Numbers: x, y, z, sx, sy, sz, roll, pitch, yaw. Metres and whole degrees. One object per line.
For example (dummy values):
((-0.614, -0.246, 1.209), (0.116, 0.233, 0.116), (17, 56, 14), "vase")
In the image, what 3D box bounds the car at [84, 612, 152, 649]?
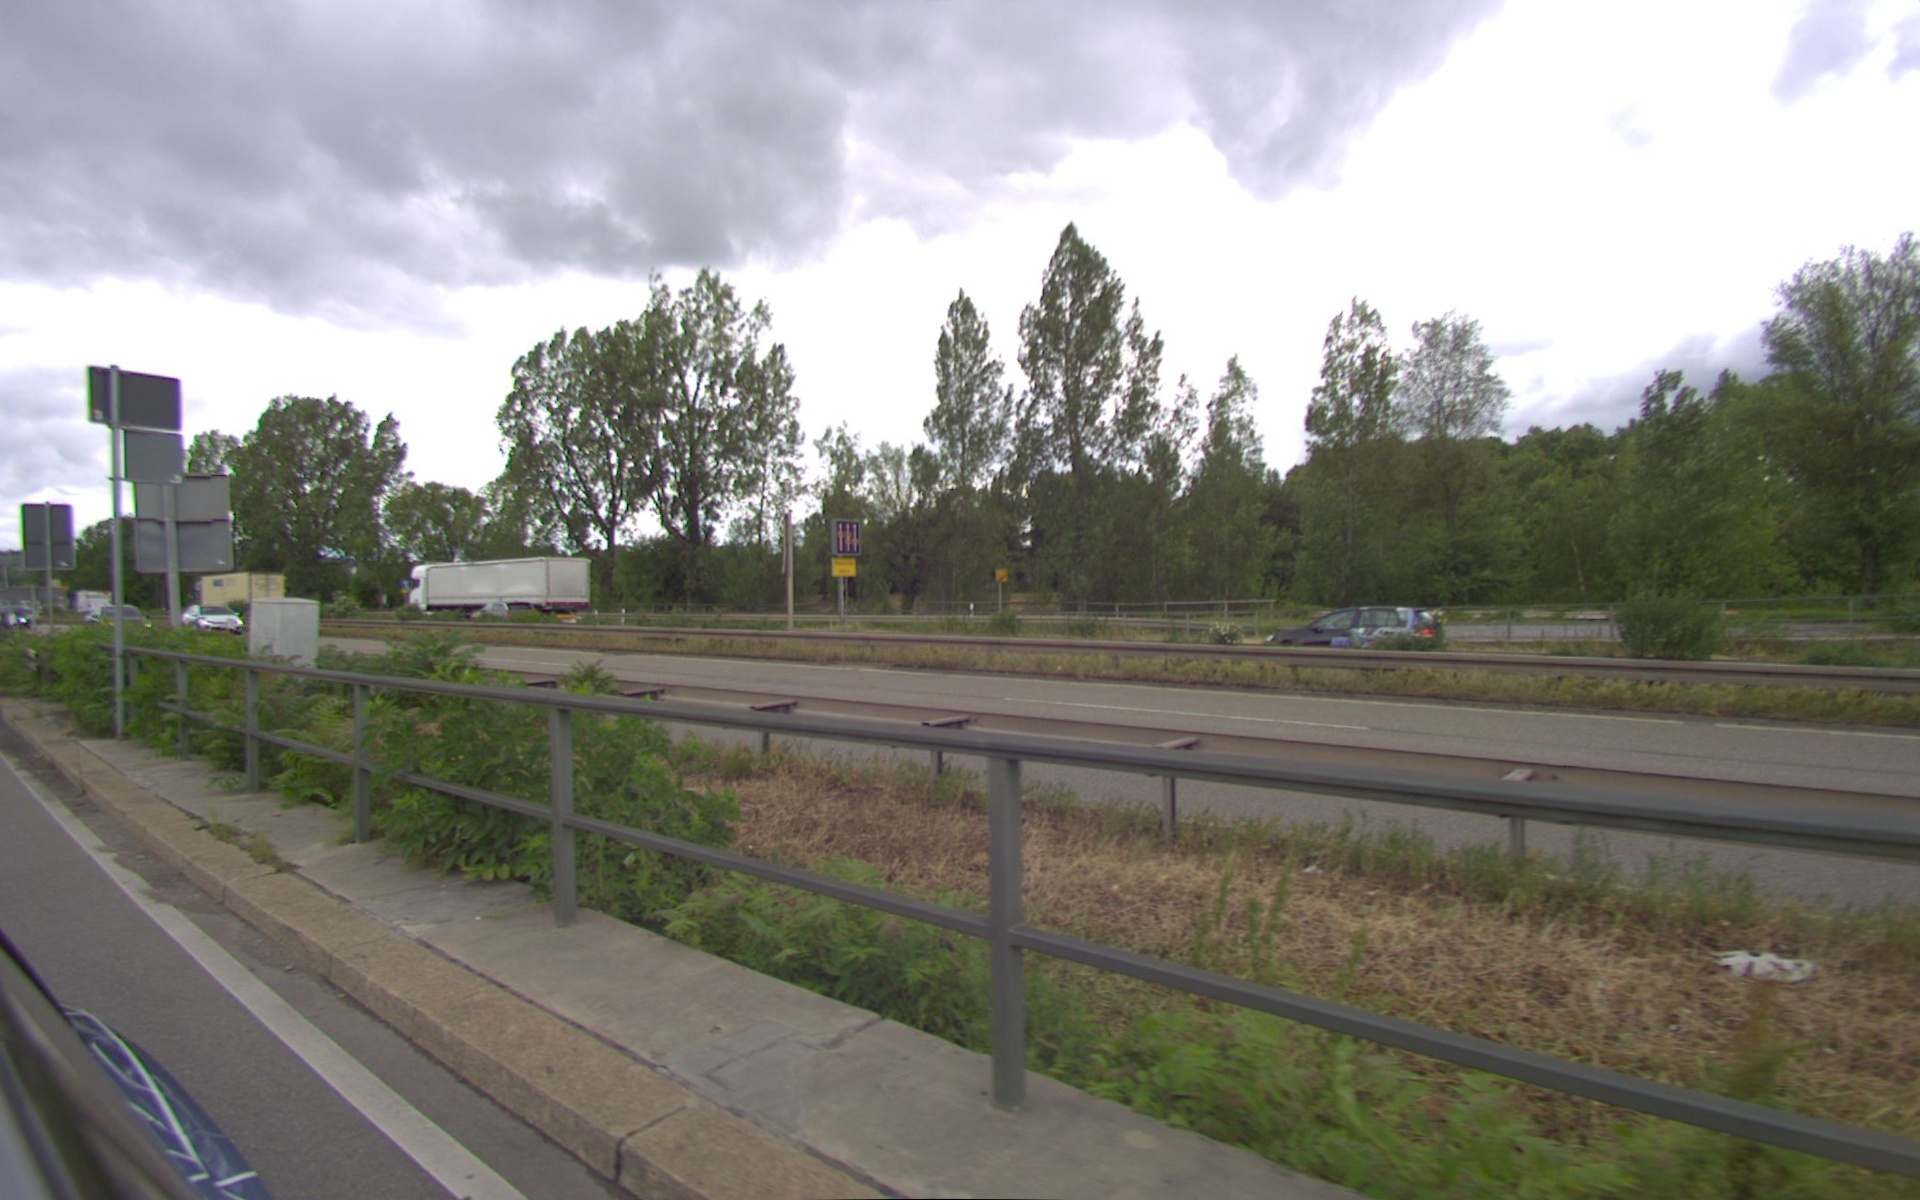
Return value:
((-36.445, 1.307, 43.759), (1.913, 1.512, 4.306), (1, -2, -45), "car")

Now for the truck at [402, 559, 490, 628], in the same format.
((-30.920, -0.408, 60.852), (5.307, 3.966, 2.762), (0, 1, 39), "truck")

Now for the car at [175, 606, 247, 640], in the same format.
((-35.882, 1.100, 48.444), (3.995, 1.511, 1.836), (-1, -1, 39), "car")

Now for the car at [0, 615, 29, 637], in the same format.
((-60.796, 1.680, 64.446), (3.643, 1.337, 1.707), (-1, -1, 38), "car")

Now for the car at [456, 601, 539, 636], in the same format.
((-22.119, 0.846, 48.342), (3.994, 1.533, 1.975), (0, 2, 38), "car")

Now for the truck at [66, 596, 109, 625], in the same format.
((-117.637, 1.396, 136.435), (6.325, 3.670, 2.956), (-1, 2, 37), "truck")

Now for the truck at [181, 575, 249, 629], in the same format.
((-67.505, 0.210, 91.711), (6.204, 4.708, 3.430), (-1, 1, 39), "truck")

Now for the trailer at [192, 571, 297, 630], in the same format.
((-61.744, 0.116, 87.035), (14.765, 4.708, 3.430), (-1, 1, 39), "trailer")

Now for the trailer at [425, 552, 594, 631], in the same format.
((-25.315, -0.442, 56.238), (13.500, 3.978, 2.763), (0, 1, 39), "trailer")

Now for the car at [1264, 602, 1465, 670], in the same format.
((9.503, 0.820, 23.916), (3.996, 1.446, 1.974), (-1, -1, 40), "car")
